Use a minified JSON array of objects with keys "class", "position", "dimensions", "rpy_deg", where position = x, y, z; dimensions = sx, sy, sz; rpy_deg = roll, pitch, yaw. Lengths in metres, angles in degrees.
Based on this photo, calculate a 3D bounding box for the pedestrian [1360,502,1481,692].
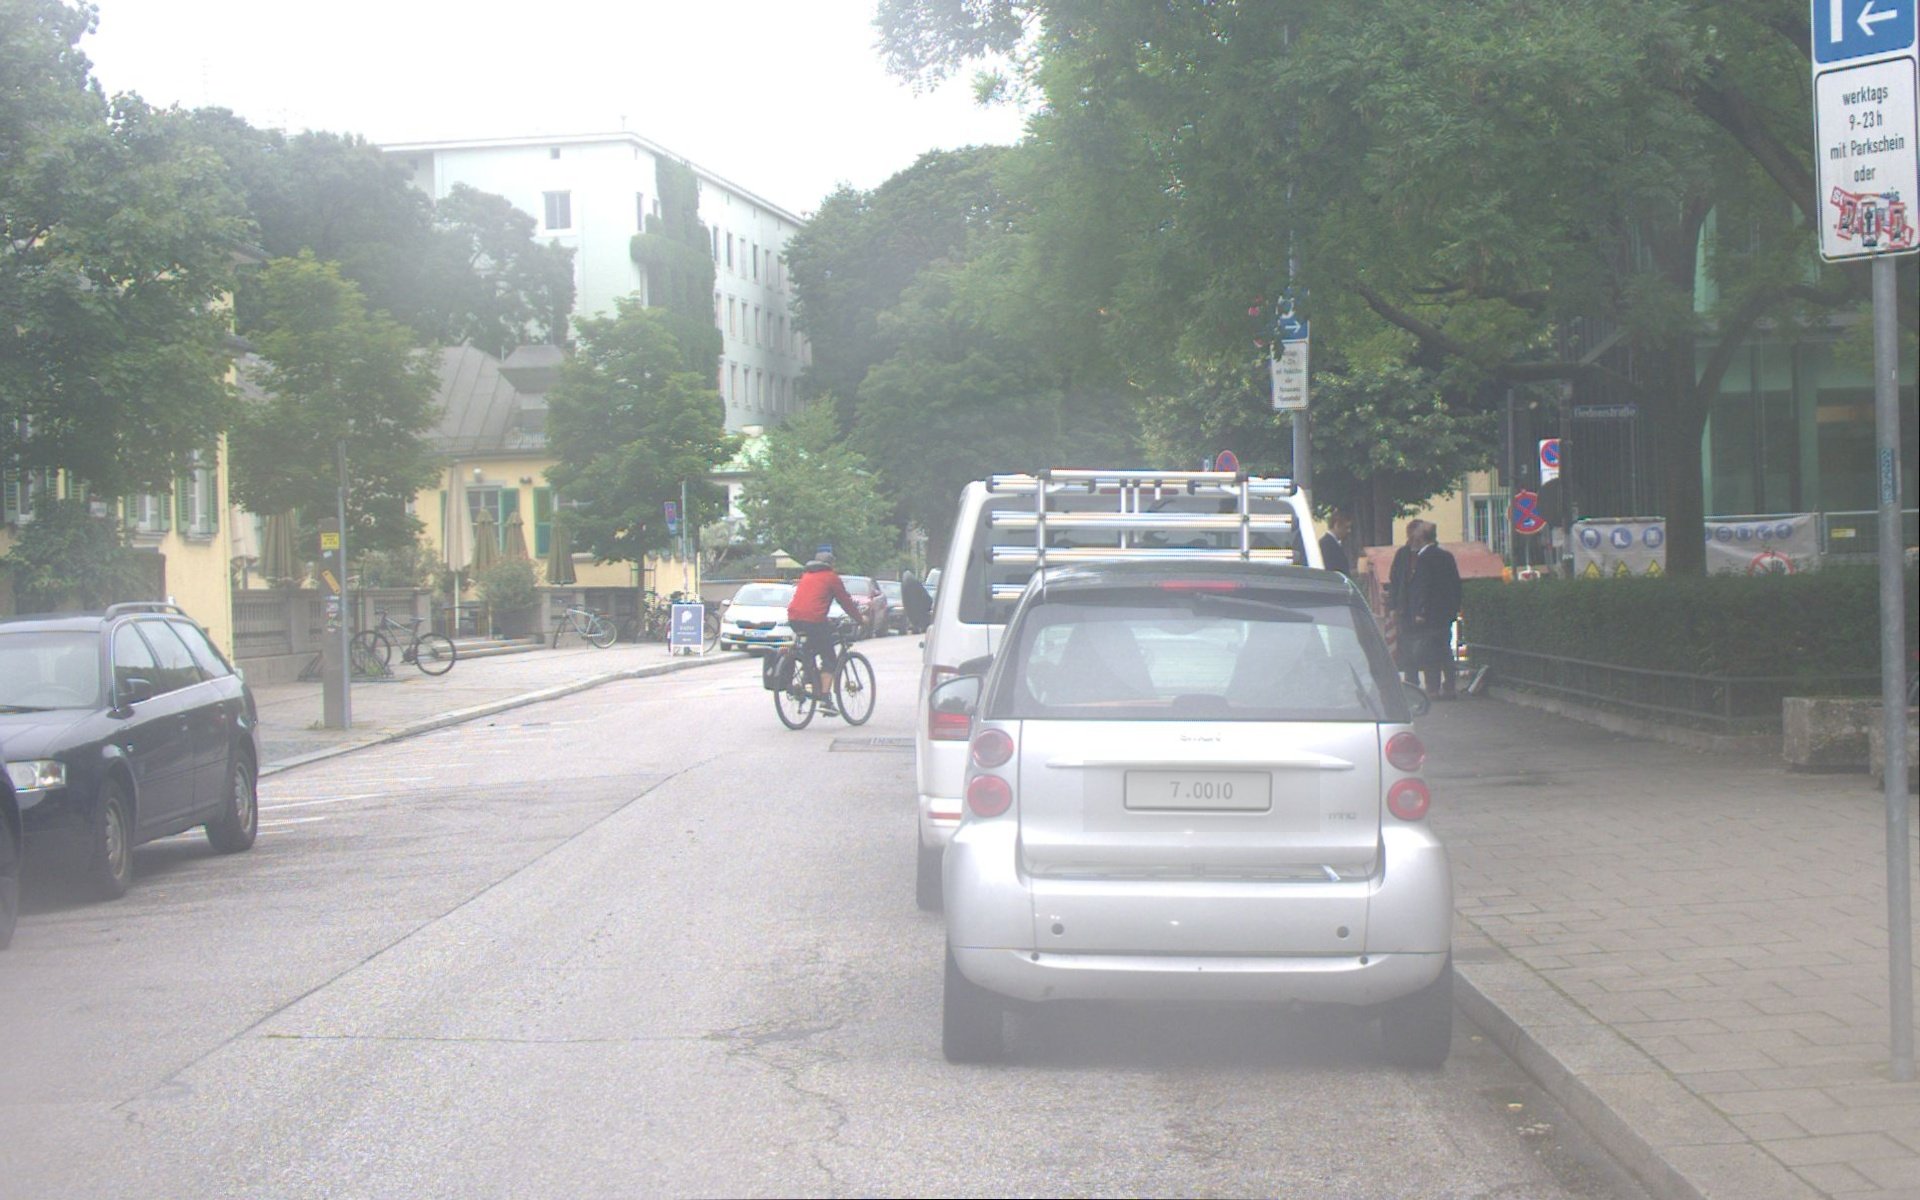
[{"class":"pedestrian","position":[4.743,-0.036,35.386],"dimensions":[0.744,1.901,1.054],"rpy_deg":[-2,0,36]}]

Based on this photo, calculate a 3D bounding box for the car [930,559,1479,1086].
[{"class":"car","position":[0.744,0.641,11.629],"dimensions":[1.605,1.541,2.934],"rpy_deg":[1,1,1]}]

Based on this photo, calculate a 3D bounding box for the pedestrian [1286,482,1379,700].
[{"class":"pedestrian","position":[3.730,-0.088,34.519],"dimensions":[0.742,2.127,1.056],"rpy_deg":[-2,0,0]}]

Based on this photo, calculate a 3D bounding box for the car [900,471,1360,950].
[{"class":"car","position":[0.681,0.427,16.731],"dimensions":[1.845,1.926,5.273],"rpy_deg":[1,1,0]}]

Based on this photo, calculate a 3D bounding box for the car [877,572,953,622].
[{"class":"car","position":[-1.416,-0.112,110.064],"dimensions":[1.994,1.481,3.999],"rpy_deg":[-2,1,5]}]

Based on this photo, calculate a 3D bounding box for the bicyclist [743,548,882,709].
[{"class":"bicyclist","position":[-1.391,0.266,32.498],"dimensions":[1.092,1.492,0.673],"rpy_deg":[-1,-2,-43]}]

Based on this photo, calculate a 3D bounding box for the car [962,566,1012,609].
[{"class":"car","position":[1.125,-0.540,141.353],"dimensions":[1.810,1.677,4.000],"rpy_deg":[-2,1,3]}]

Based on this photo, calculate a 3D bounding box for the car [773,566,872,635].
[{"class":"car","position":[-3.453,-0.004,87.173],"dimensions":[1.994,1.643,4.655],"rpy_deg":[-1,0,4]}]

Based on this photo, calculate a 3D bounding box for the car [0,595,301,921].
[{"class":"car","position":[-5.146,0.784,18.670],"dimensions":[1.993,1.485,4.883],"rpy_deg":[-3,0,2]}]

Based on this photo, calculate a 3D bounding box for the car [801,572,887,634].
[{"class":"car","position":[-3.080,0.081,92.347],"dimensions":[1.994,1.597,4.000],"rpy_deg":[-1,0,2]}]

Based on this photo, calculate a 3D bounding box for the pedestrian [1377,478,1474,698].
[{"class":"pedestrian","position":[4.623,-0.121,34.175],"dimensions":[0.742,2.127,1.056],"rpy_deg":[-2,0,0]}]

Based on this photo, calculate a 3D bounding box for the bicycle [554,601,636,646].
[{"class":"bicycle","position":[-7.898,0.512,74.386],"dimensions":[1.613,0.922,0.651],"rpy_deg":[-1,-1,-23]}]

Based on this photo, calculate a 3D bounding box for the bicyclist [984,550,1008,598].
[{"class":"bicyclist","position":[1.190,-0.860,113.951],"dimensions":[0.743,1.570,0.977],"rpy_deg":[-2,1,0]}]

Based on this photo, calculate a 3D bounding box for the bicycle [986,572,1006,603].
[{"class":"bicycle","position":[1.182,-0.428,114.005],"dimensions":[0.621,1.001,2.140],"rpy_deg":[-2,1,0]}]

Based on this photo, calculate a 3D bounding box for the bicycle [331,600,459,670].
[{"class":"bicycle","position":[-9.086,0.557,55.309],"dimensions":[1.931,1.095,0.615],"rpy_deg":[1,0,4]}]

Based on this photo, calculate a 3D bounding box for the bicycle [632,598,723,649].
[{"class":"bicycle","position":[-5.752,0.470,70.124],"dimensions":[0.623,1.001,2.136],"rpy_deg":[2,1,34]}]

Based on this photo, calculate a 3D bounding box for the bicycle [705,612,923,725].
[{"class":"bicycle","position":[-1.367,0.643,32.503],"dimensions":[2.134,1.001,0.623],"rpy_deg":[-1,-1,-43]}]

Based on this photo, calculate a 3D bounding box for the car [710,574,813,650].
[{"class":"car","position":[-4.278,0.239,74.601],"dimensions":[1.734,1.576,3.787],"rpy_deg":[1,1,4]}]

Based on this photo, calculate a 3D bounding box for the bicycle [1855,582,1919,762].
[{"class":"bicycle","position":[6.804,0.415,21.902],"dimensions":[2.031,1.110,0.471],"rpy_deg":[-3,0,-2]}]

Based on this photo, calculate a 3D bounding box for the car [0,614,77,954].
[{"class":"car","position":[-5.044,0.839,13.406],"dimensions":[1.923,1.434,4.918],"rpy_deg":[-3,0,-1]}]

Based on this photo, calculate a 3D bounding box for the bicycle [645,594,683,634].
[{"class":"bicycle","position":[-7.437,0.354,86.404],"dimensions":[0.621,1.001,1.618],"rpy_deg":[-1,-1,7]}]
